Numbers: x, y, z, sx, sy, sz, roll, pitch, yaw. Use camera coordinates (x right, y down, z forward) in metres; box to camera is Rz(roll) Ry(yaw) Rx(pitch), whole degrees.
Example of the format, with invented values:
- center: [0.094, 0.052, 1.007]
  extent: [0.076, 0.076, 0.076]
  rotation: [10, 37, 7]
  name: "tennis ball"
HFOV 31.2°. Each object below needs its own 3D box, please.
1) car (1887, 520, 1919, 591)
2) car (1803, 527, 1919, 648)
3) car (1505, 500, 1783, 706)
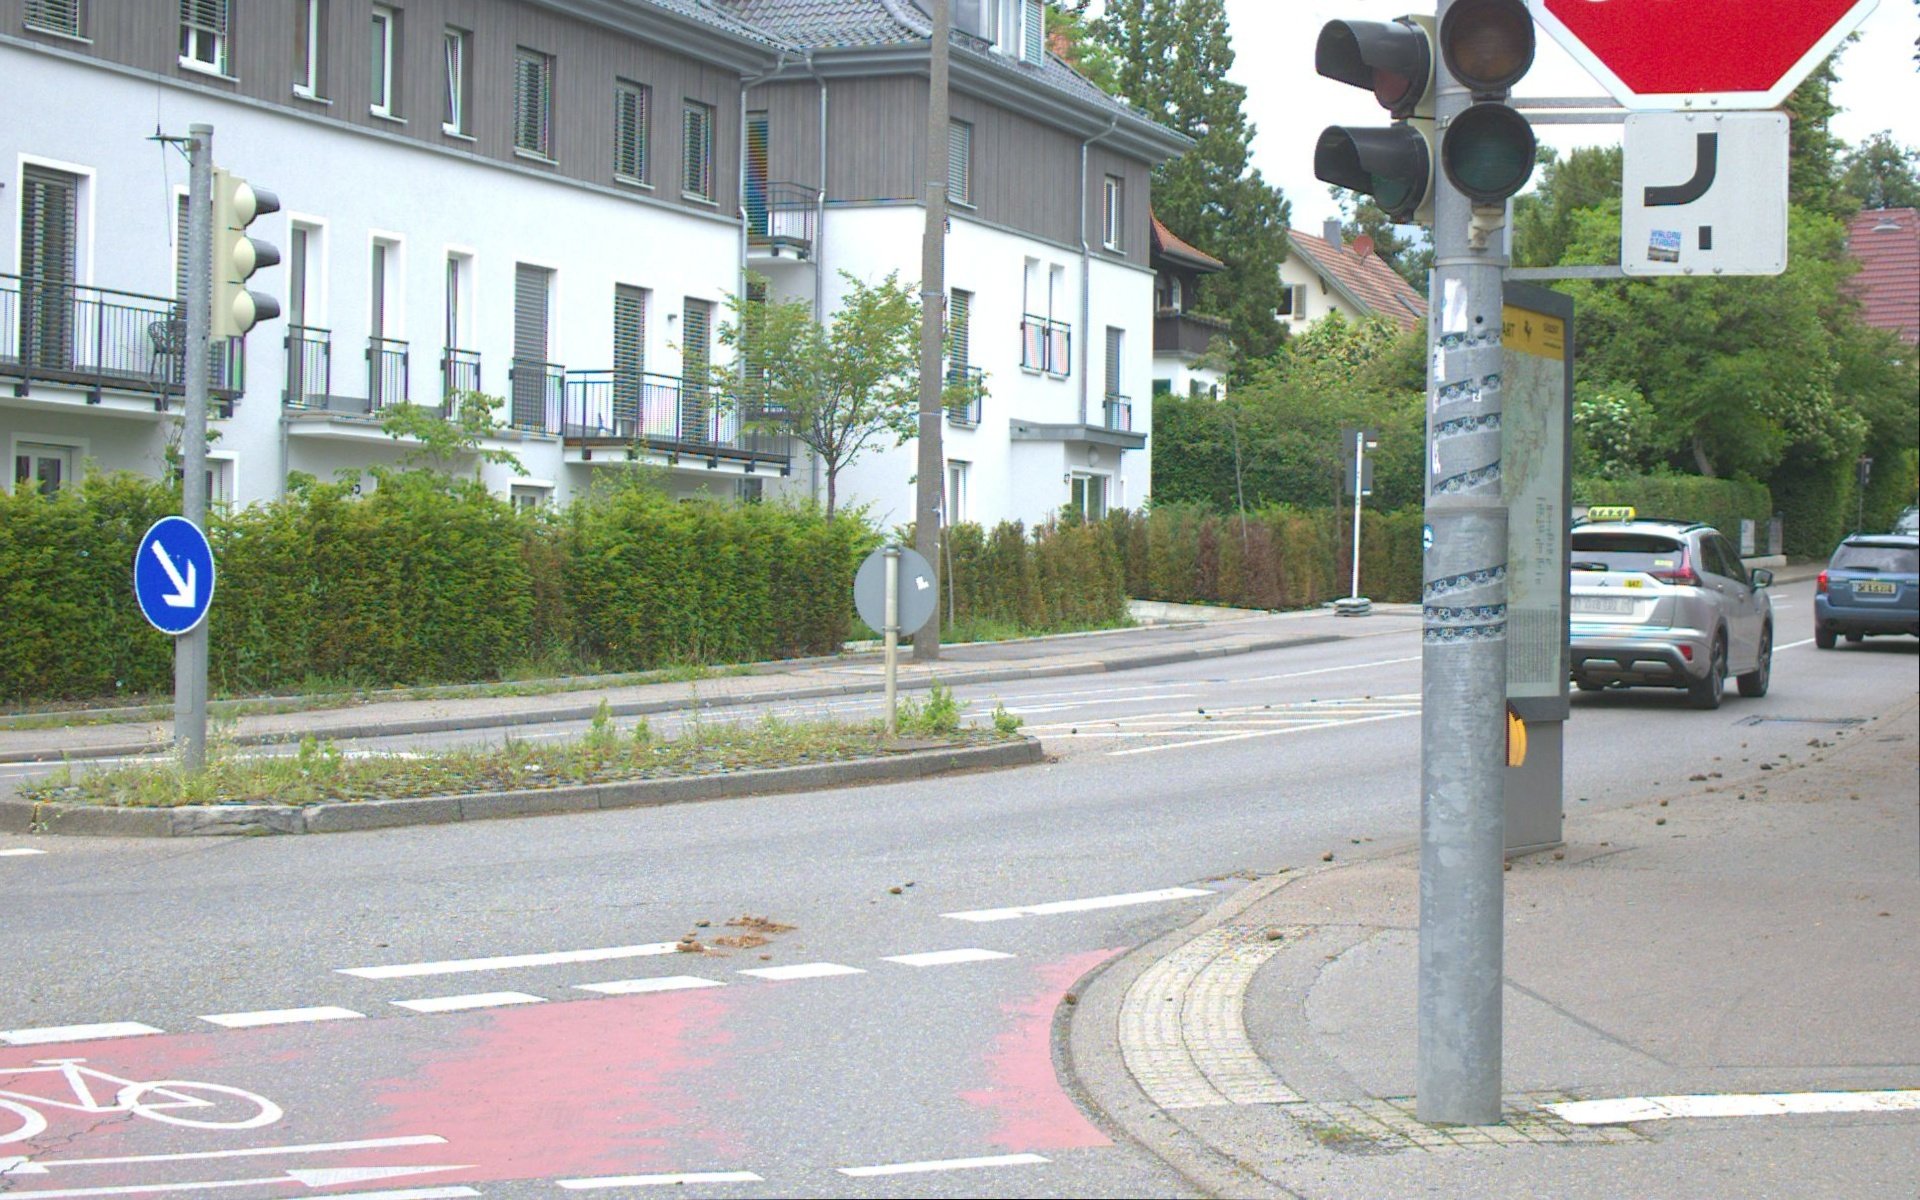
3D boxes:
- center: [26.344, -1.199, 92.933]
  extent: [1.914, 1.874, 5.136]
  rotation: [-1, 0, 22]
  name: "car"
- center: [12.436, -0.204, 45.579]
  extent: [1.802, 1.522, 4.738]
  rotation: [0, 1, 22]
  name: "car"
- center: [6.358, -0.013, 31.581]
  extent: [1.809, 1.747, 4.483]
  rotation: [0, 1, 20]
  name: "car"
